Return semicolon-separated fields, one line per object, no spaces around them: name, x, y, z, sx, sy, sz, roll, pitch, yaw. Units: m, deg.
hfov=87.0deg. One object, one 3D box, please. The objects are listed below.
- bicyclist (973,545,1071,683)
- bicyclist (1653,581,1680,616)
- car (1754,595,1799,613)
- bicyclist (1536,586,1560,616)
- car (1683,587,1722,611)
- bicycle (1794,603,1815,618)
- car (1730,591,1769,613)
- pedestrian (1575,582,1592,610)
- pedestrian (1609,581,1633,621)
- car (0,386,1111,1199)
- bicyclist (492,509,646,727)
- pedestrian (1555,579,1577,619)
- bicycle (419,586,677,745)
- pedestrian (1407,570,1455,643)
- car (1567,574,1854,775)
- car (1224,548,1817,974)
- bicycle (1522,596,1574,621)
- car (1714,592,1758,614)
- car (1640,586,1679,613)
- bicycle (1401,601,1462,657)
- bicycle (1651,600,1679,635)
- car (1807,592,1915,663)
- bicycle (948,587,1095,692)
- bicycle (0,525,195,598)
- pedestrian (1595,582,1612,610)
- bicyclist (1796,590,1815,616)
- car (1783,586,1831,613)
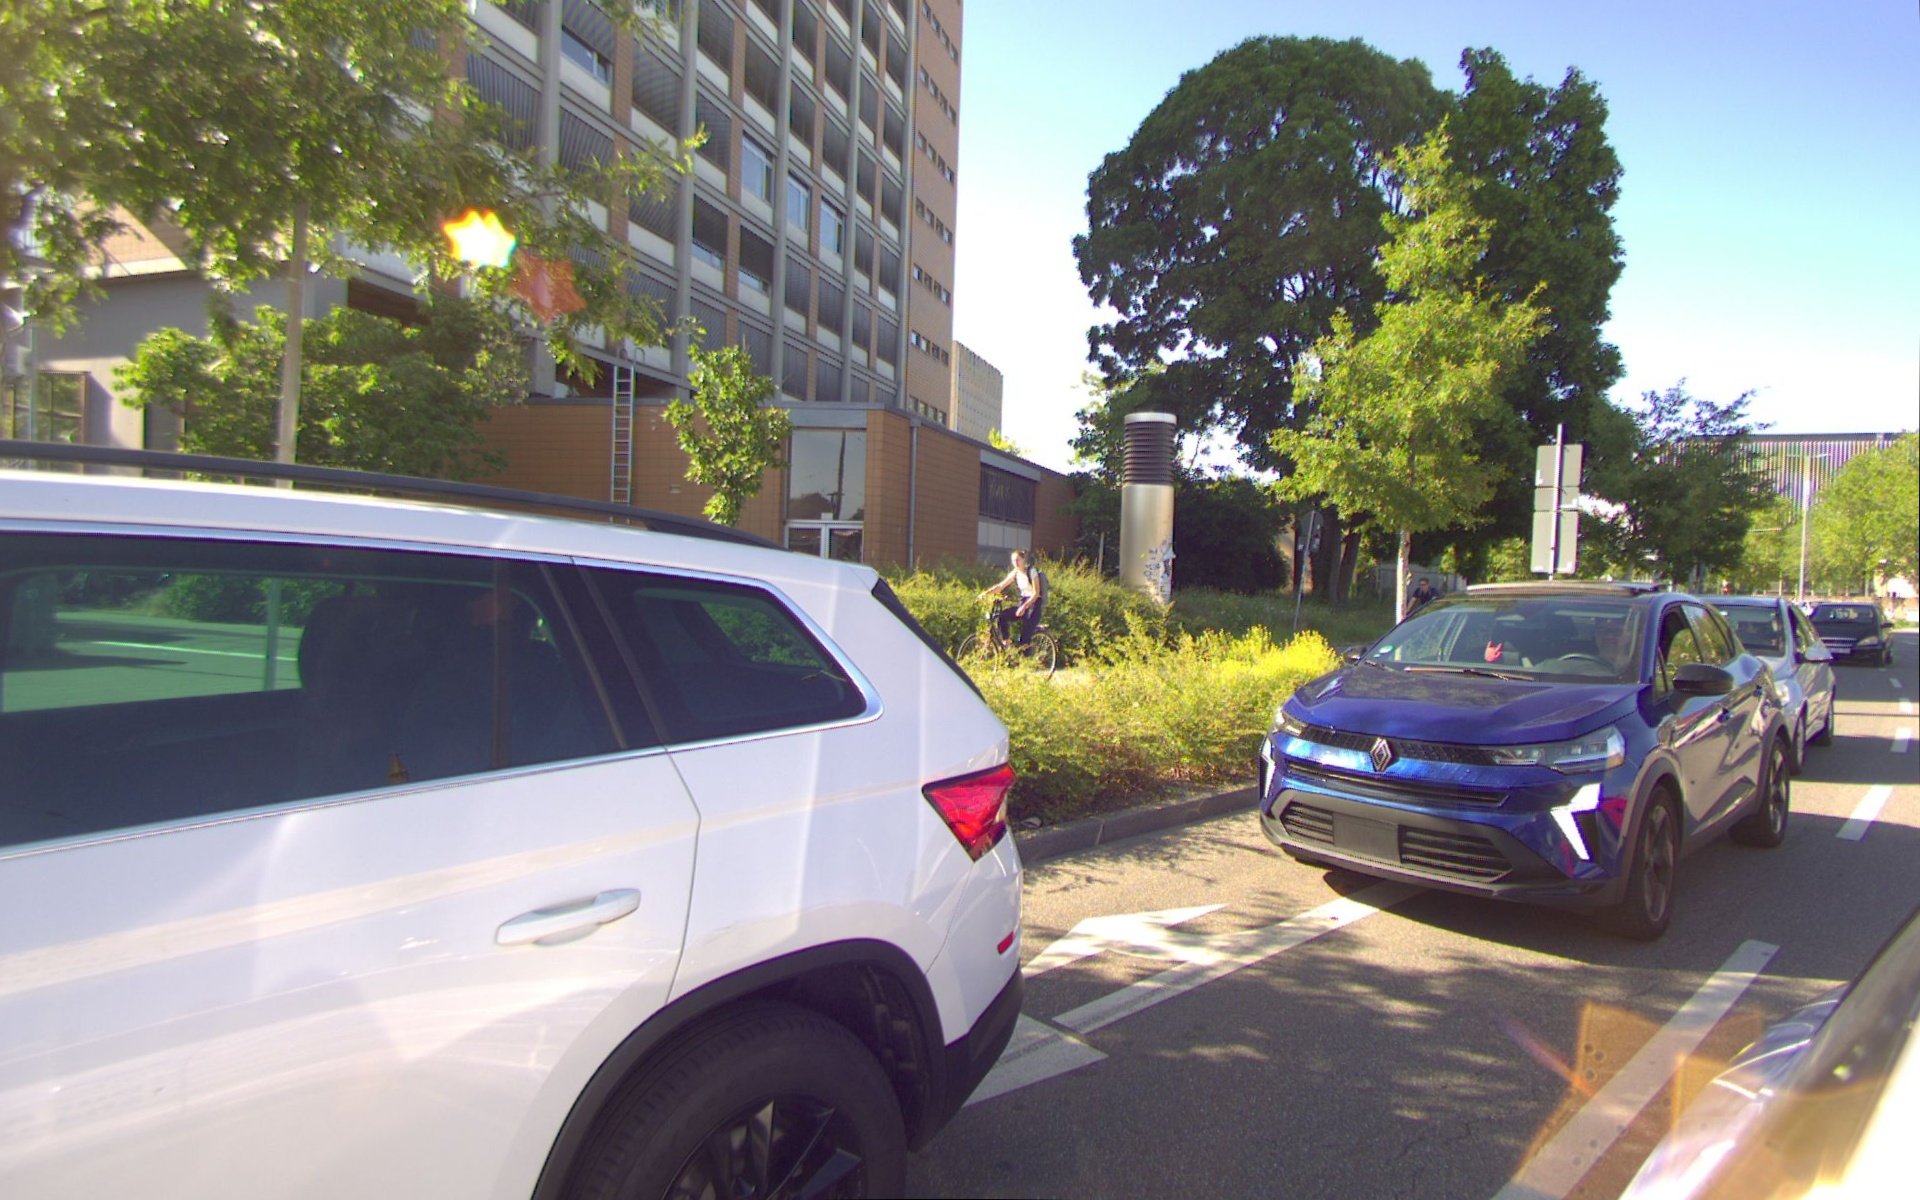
bicyclist;0.761;0.152;12.436;0.960;1.618;0.686;1;1;-42
bicyclist;26.970;-0.059;38.635;0.717;1.294;0.897;4;3;32
car;58.890;0.255;73.036;1.569;1.219;3.966;0;1;25
bicyclist;29.309;0.046;50.462;0.837;1.492;0.760;2;1;20
car;66.098;-0.137;90.189;1.767;2.039;4.201;1;1;22
bicycle;52.036;0.663;62.350;0.584;0.900;1.640;0;0;25
car;61.735;0.163;79.171;1.578;1.625;3.048;2;1;23
pedestrian;43.642;-0.295;70.846;0.811;1.941;0.767;0;0;20
pedestrian;27.448;0.023;42.026;0.685;1.624;0.657;2;1;22
car;-1.798;0.576;1.523;4.223;1.662;1.697;0;1;-42
bicyclist;-3.186;0.125;8.269;0.626;1.658;0.979;2;1;45
pedestrian;25.198;-0.034;42.096;0.686;1.624;0.656;2;1;25
bicycle;-3.278;0.473;8.187;0.626;1.127;1.821;2;1;45
pedestrian;9.597;0.119;20.608;0.946;1.419;0.516;0;3;-45
car;7.858;0.611;10.450;3.977;1.645;1.782;0;1;-45
car;3.425;0.607;5.833;4.012;1.626;1.704;1;1;-41
bicycle;29.286;0.425;50.454;2.099;1.189;0.760;1;1;21
car;52.206;0.158;68.159;1.736;1.396;3.540;1;1;27
car;51.381;-0.023;74.365;1.811;1.876;3.717;2;1;27
bicycle;9.641;0.570;20.656;1.739;1.057;0.516;0;4;-45
bicycle;27.061;0.659;38.865;0.687;1.232;1.814;4;3;31
car;23.125;0.657;25.934;3.429;1.631;1.649;0;2;-42
bicycle;0.787;0.451;12.470;1.851;1.178;0.686;0;1;-42
bicycle;-17.731;-0.769;20.863;0.790;1.394;3.111;2;1;26
pedestrian;44.675;-0.289;70.262;0.811;1.941;0.767;0;0;20
bicyclist;52.049;0.194;62.293;0.688;1.578;0.809;0;0;25
car;55.705;-0.051;66.635;1.509;1.701;3.353;1;0;24
